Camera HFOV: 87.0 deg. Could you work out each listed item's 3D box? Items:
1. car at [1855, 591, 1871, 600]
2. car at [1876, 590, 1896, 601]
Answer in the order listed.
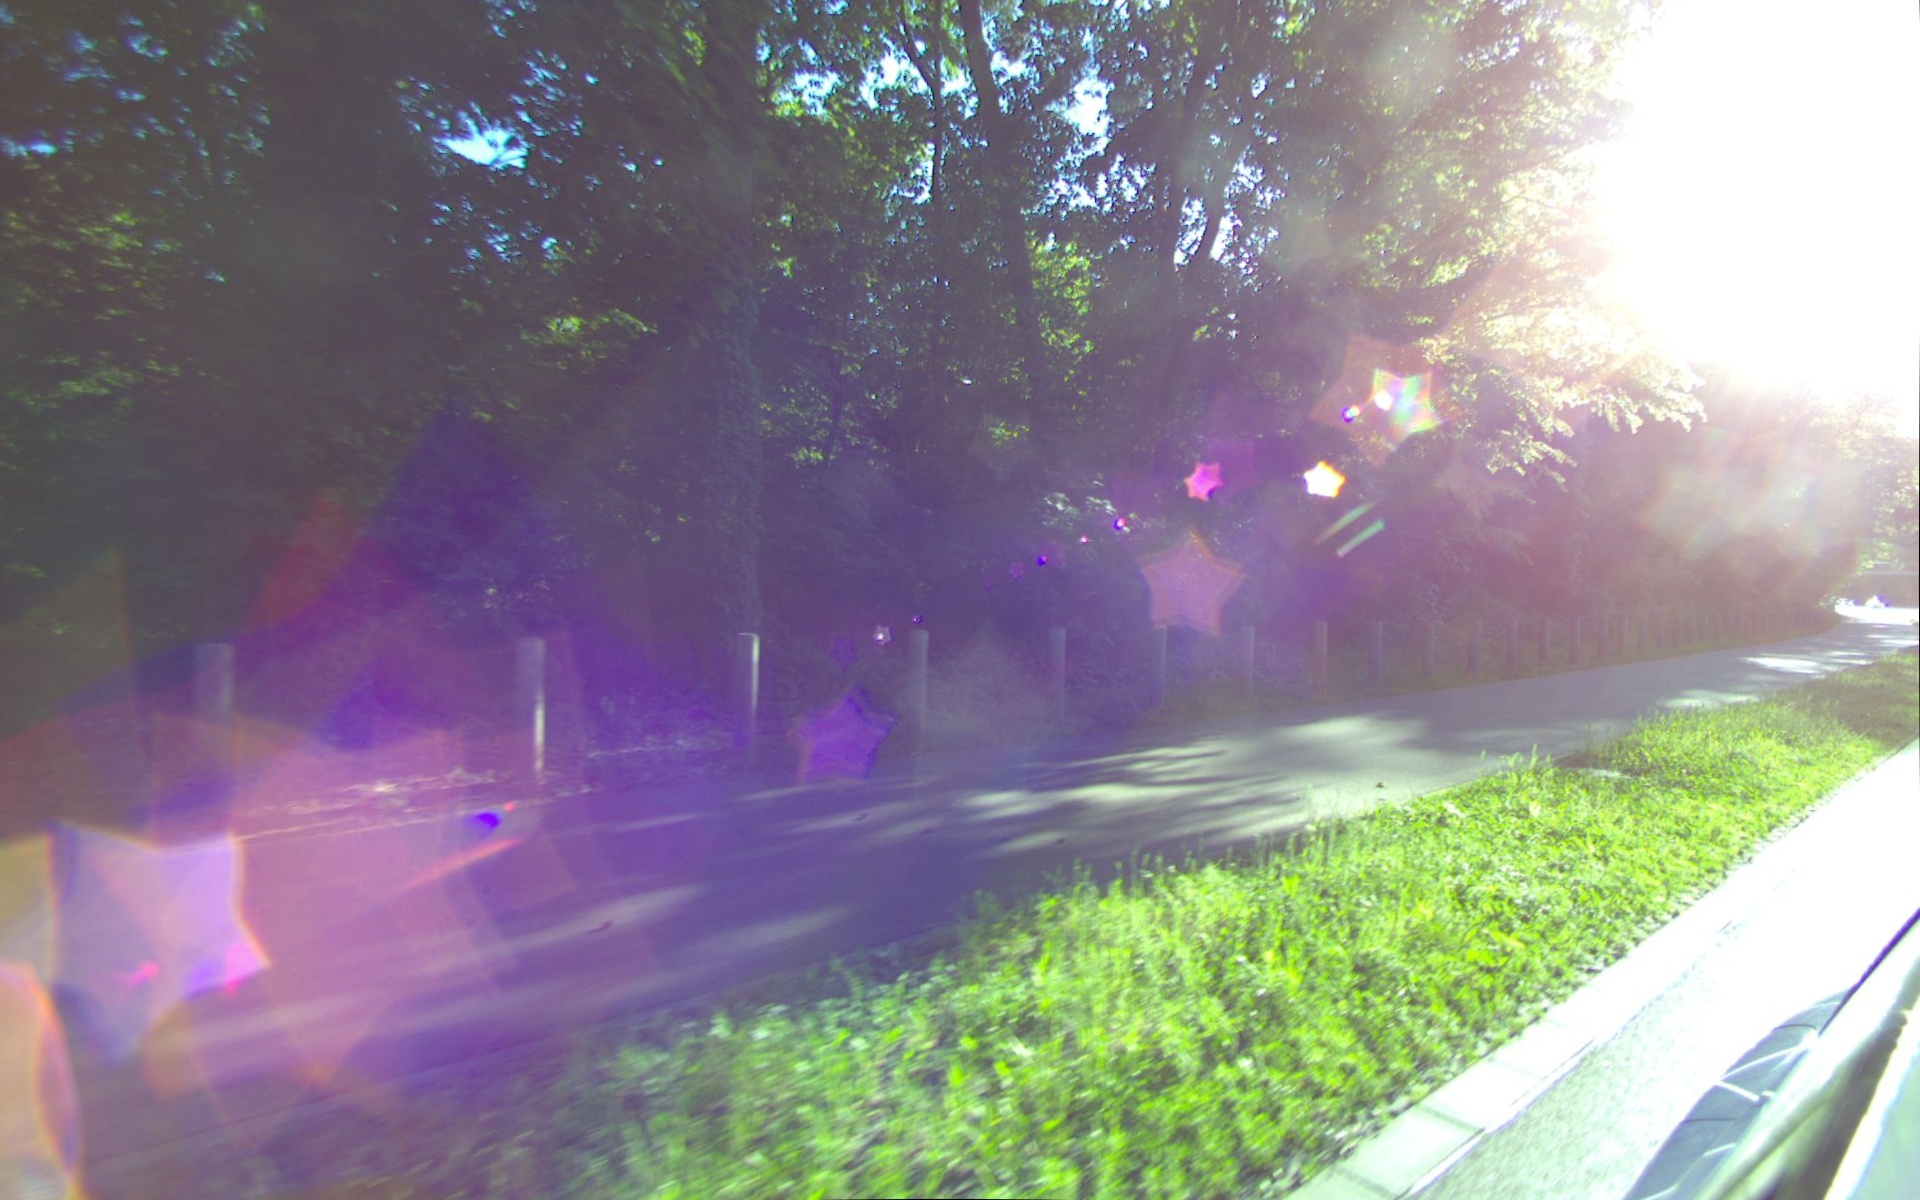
[{"bbox_3d":[172.033,-0.903,192.822,1.815,1.705,3.952,2,2,34],"label":"car"},{"bbox_3d":[153.022,-0.814,167.212,1.815,1.705,3.951,2,2,34],"label":"car"}]
